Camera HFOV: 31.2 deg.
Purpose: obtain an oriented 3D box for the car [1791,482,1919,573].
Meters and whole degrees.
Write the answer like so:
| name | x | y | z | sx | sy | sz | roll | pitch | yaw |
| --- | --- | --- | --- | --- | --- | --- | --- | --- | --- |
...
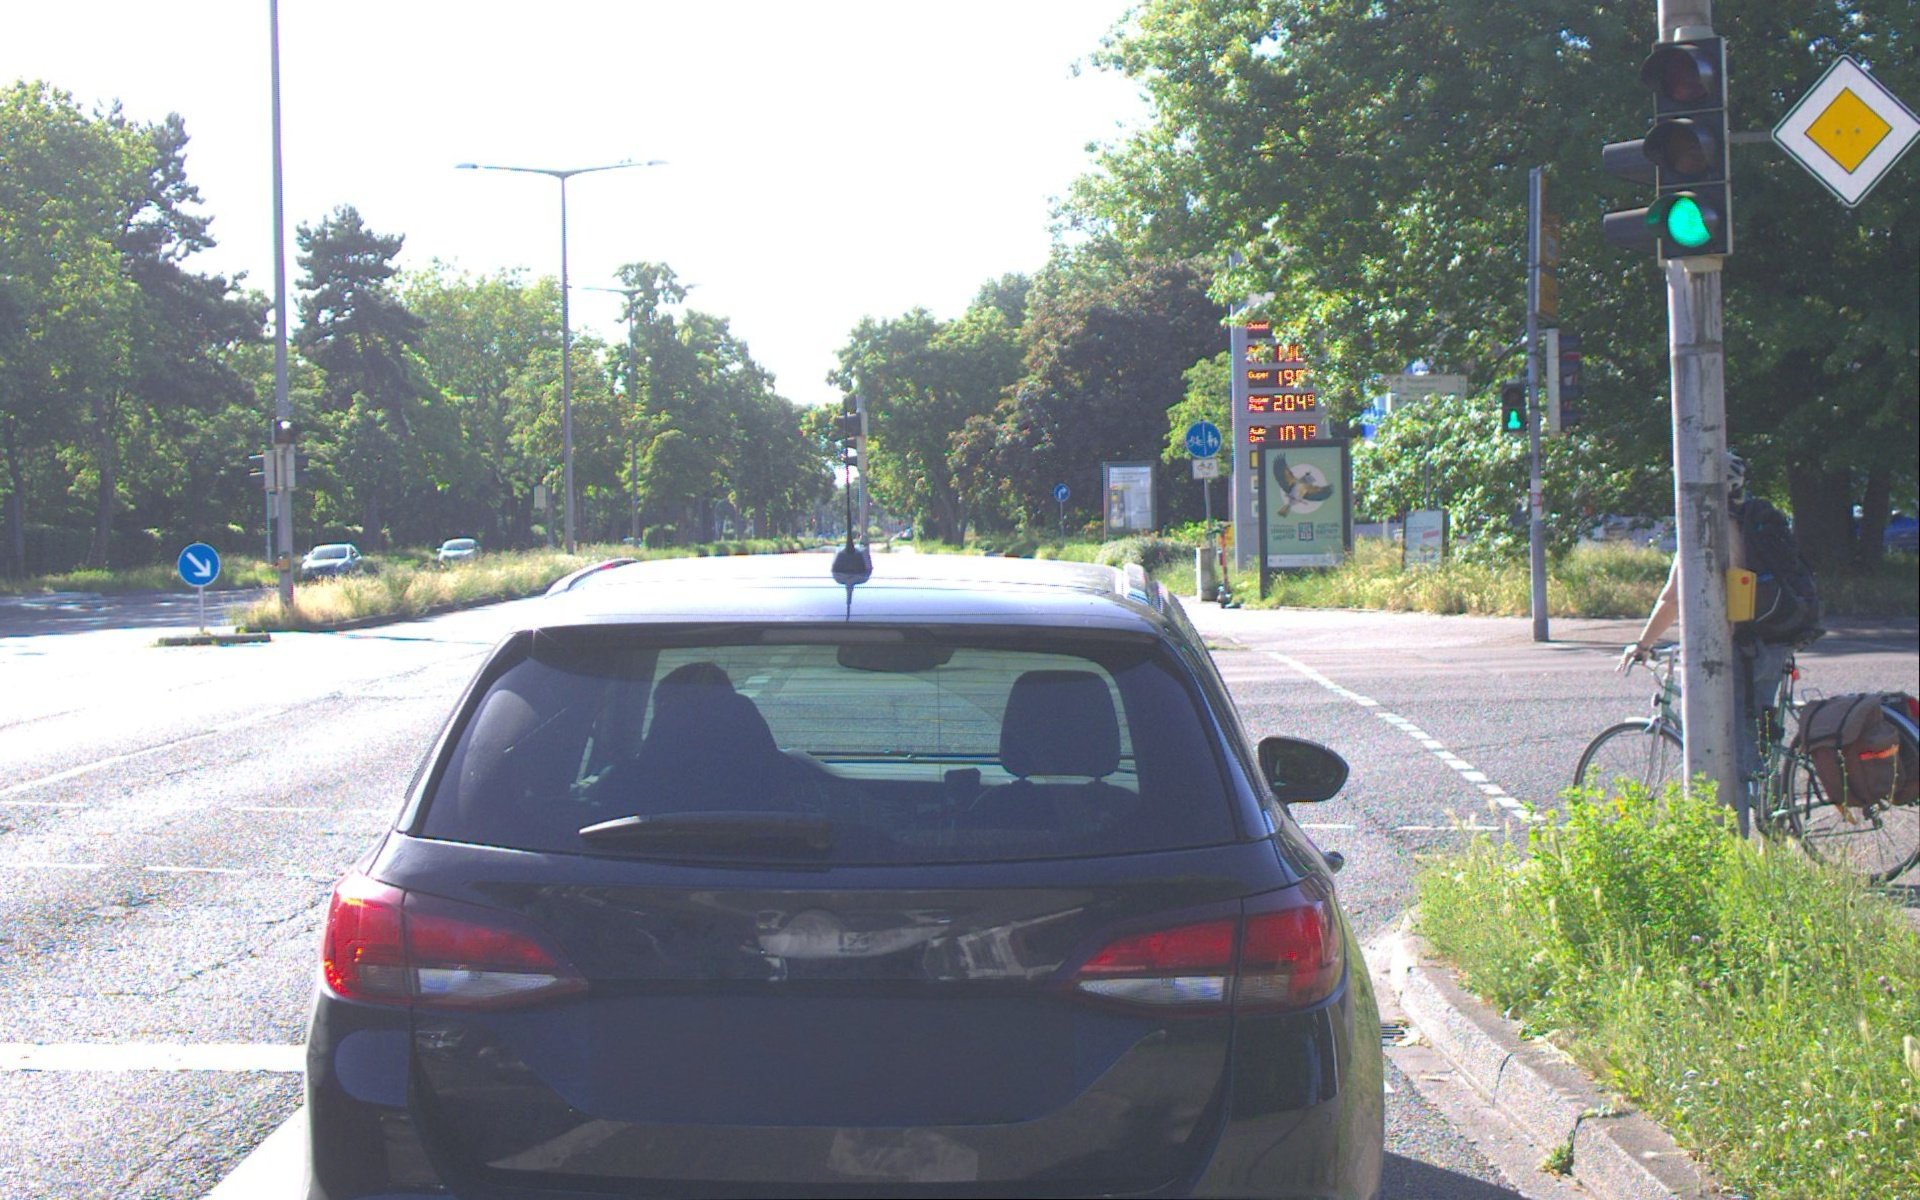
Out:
| name | x | y | z | sx | sy | sz | roll | pitch | yaw |
| --- | --- | --- | --- | --- | --- | --- | --- | --- | --- |
| car | 16.618 | -1.287 | 59.804 | 3.887 | 1.512 | 1.746 | -2 | 1 | -23 |

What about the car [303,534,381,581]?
| name | x | y | z | sx | sy | sz | roll | pitch | yaw |
| --- | --- | --- | --- | --- | --- | --- | --- | --- | --- |
| car | -21.181 | -1.461 | 117.966 | 1.993 | 1.525 | 4.000 | -2 | 1 | -1 |

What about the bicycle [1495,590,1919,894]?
| name | x | y | z | sx | sy | sz | roll | pitch | yaw |
| --- | --- | --- | --- | --- | --- | --- | --- | --- | --- |
| bicycle | 2.981 | 0.545 | 13.335 | 0.536 | 1.094 | 1.775 | -3 | 0 | -44 |

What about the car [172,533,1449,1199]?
| name | x | y | z | sx | sy | sz | roll | pitch | yaw |
| --- | --- | --- | --- | --- | --- | --- | --- | --- | --- |
| car | -0.231 | 0.630 | 6.849 | 1.756 | 1.490 | 4.207 | 0 | 1 | -1 |

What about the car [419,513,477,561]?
| name | x | y | z | sx | sy | sz | roll | pitch | yaw |
| --- | --- | --- | --- | --- | --- | --- | --- | --- | --- |
| car | -22.615 | -2.792 | 151.996 | 1.993 | 2.007 | 4.000 | -2 | 1 | -1 |

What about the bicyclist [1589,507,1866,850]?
| name | x | y | z | sx | sy | sz | roll | pitch | yaw |
| --- | --- | --- | --- | --- | --- | --- | --- | --- | --- |
| bicyclist | 2.971 | 0.304 | 13.332 | 0.536 | 1.272 | 0.829 | -3 | 0 | -44 |

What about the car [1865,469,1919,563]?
| name | x | y | z | sx | sy | sz | roll | pitch | yaw |
| --- | --- | --- | --- | --- | --- | --- | --- | --- | --- |
| car | 17.094 | -1.429 | 56.719 | 3.887 | 1.512 | 1.746 | -2 | 1 | -23 |
